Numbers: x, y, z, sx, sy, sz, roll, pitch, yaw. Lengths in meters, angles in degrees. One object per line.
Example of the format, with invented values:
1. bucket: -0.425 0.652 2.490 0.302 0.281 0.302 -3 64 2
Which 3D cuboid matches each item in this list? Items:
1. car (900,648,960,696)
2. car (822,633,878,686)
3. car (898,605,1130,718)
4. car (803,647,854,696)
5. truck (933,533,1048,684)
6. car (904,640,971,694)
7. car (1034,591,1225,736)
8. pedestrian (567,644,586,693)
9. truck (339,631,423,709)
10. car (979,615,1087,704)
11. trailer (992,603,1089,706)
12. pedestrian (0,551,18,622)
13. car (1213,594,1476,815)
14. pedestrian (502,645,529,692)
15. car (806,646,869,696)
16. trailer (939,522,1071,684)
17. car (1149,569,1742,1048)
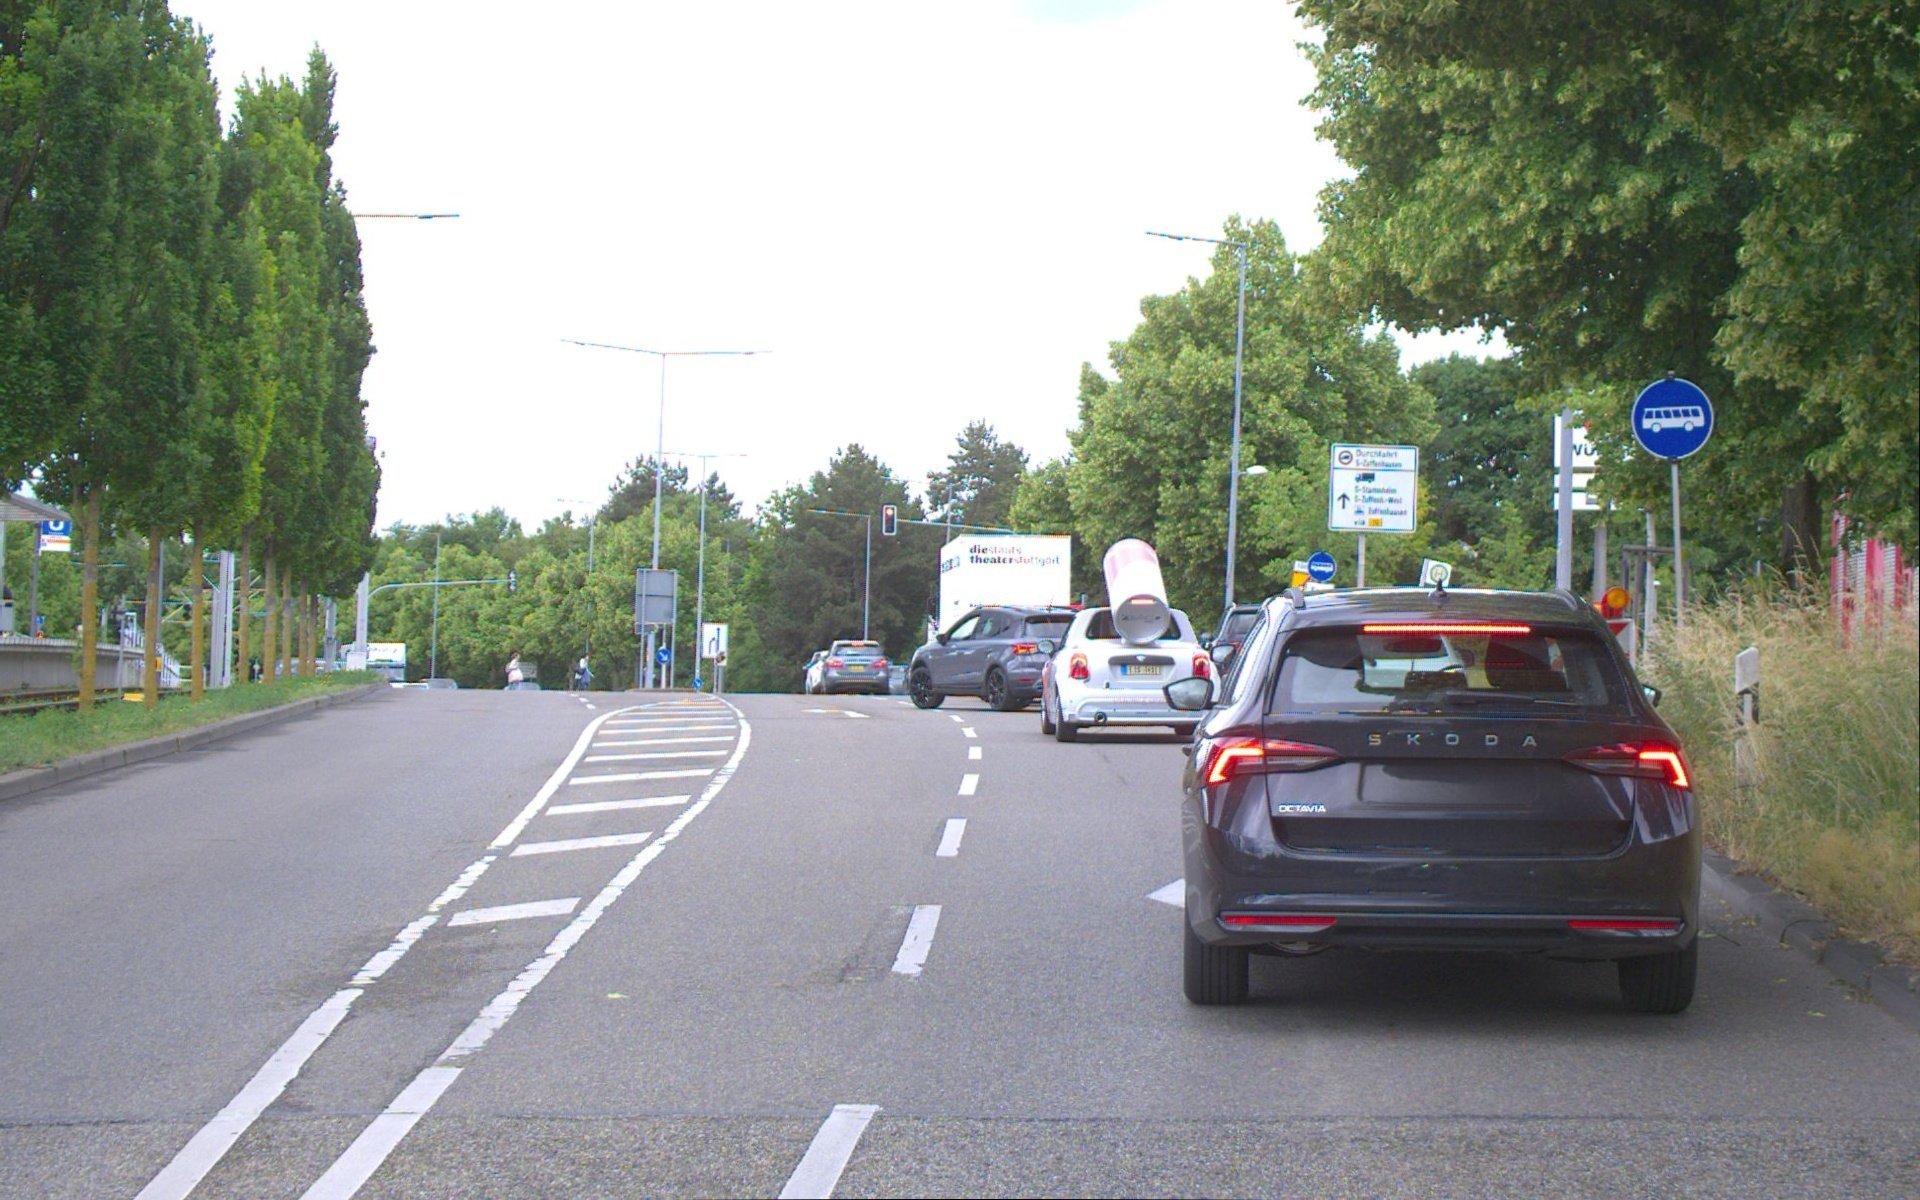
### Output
1. car: -0.953 2.256 107.073 1.545 1.399 4.000 1 -2 -5
2. car: -3.047 1.627 95.328 1.525 1.349 3.491 1 1 -2
3. car: 0.731 0.869 49.951 1.698 1.481 4.001 1 1 -26
4. car: -4.218 2.293 109.961 1.535 1.499 2.670 1 -2 -4
5. truck: 0.741 0.248 86.777 2.570 3.693 4.106 1 -1 -3
6. car: -0.648 1.857 96.577 1.812 1.349 4.118 1 1 -1
7. car: 1.775 0.680 37.016 1.718 1.452 3.696 1 -1 -2
8. pedestrian: -12.928 2.303 115.887 0.586 1.616 0.423 1 1 -6
9. truck: -29.707 3.548 176.112 2.659 3.637 9.505 3 0 -18
10. car: 1.219 1.025 59.044 1.671 1.443 4.489 1 -1 -1
11. trailer: 1.270 0.873 55.148 1.409 1.588 3.303 1 -1 -1
12. pedestrian: -24.858 -0.353 89.315 0.572 1.821 0.793 1 -2 -8
13. car: 2.703 0.698 24.820 1.623 1.452 3.688 1 0 3
14. pedestrian: -14.809 2.287 114.657 0.863 1.555 0.518 1 1 -6
15. car: -3.752 2.169 104.586 1.721 1.417 4.356 1 -2 -4
16. trailer: 1.001 0.148 82.683 2.565 3.693 7.764 1 -1 -4
17. car: 1.736 0.642 13.097 1.836 1.427 4.278 2 1 5
